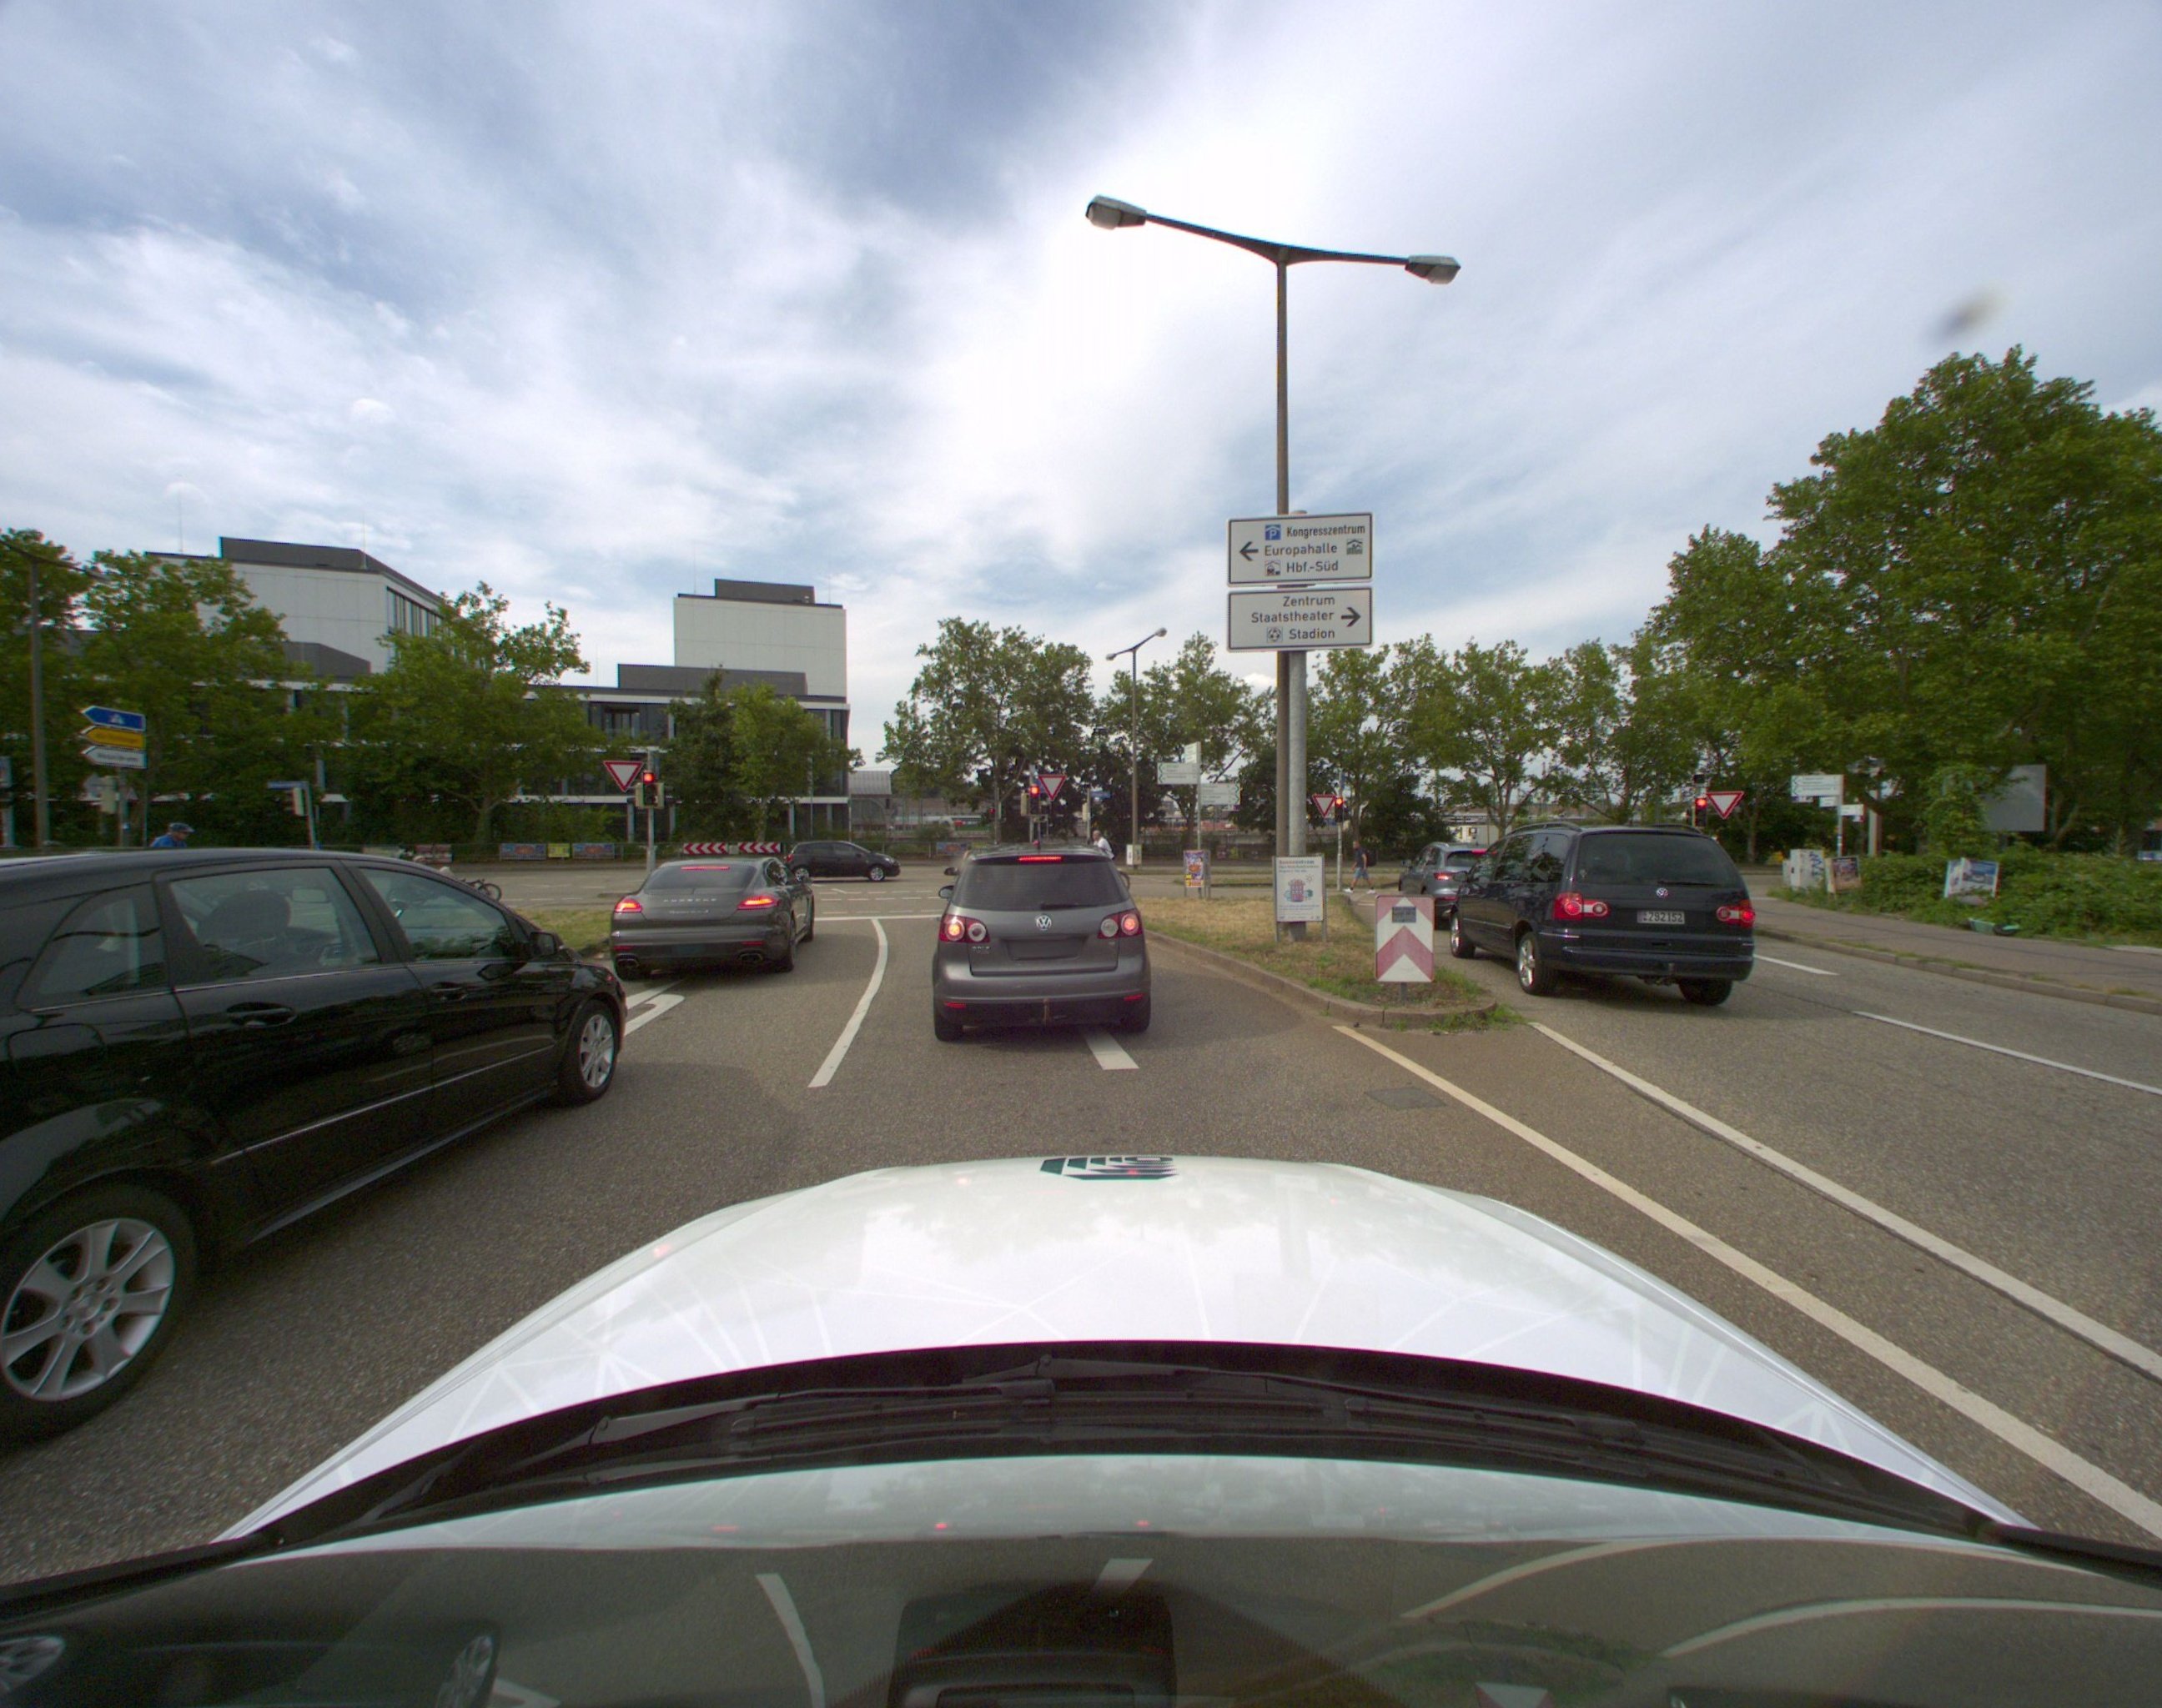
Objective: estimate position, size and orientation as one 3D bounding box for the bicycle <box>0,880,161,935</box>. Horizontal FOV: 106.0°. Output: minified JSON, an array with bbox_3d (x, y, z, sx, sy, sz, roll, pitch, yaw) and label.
[{"bbox_3d":[-18.596,0.964,14.727,2.588,0.890,0.701,-1,1,-16],"label":"bicycle"}]

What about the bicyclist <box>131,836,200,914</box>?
[{"bbox_3d":[-19.044,0.414,16.954,0.785,1.581,0.648,-1,1,-35],"label":"bicyclist"}]

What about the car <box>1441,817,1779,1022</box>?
[{"bbox_3d":[5.501,0.550,9.164,1.739,1.724,4.150,1,0,11],"label":"car"}]

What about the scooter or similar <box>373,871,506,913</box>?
[{"bbox_3d":[-15.267,0.875,19.485,2.394,0.849,0.800,-1,1,-31],"label":"scooter or similar"}]

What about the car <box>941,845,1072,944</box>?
[{"bbox_3d":[-1.489,0.609,14.677,1.743,1.482,4.062,-1,0,-14],"label":"car"}]

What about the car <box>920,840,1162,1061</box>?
[{"bbox_3d":[-0.492,0.671,7.930,1.739,1.546,4.073,-1,0,-6],"label":"car"}]

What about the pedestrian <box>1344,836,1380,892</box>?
[{"bbox_3d":[8.785,0.295,25.468,1.038,1.710,0.858,0,1,19],"label":"pedestrian"}]

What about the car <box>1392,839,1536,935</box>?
[{"bbox_3d":[7.288,0.553,15.920,1.679,1.585,4.171,1,0,13],"label":"car"}]

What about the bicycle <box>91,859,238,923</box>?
[{"bbox_3d":[-19.033,0.747,16.975,1.915,1.210,0.636,-2,1,-35],"label":"bicycle"}]

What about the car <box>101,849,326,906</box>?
[{"bbox_3d":[-24.723,0.626,23.401,4.067,1.450,1.693,-1,1,-18],"label":"car"}]

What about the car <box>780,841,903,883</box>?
[{"bbox_3d":[-8.492,0.248,28.877,4.073,1.368,1.690,-1,1,-22],"label":"car"}]

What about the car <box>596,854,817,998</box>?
[{"bbox_3d":[-4.706,0.742,10.981,1.821,1.414,4.754,0,1,-14],"label":"car"}]

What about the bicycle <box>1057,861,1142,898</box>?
[{"bbox_3d":[0.503,0.691,22.697,2.228,0.952,0.809,-1,1,-11],"label":"bicycle"}]

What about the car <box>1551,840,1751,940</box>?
[{"bbox_3d":[10.835,0.593,15.867,1.738,1.643,4.152,1,0,13],"label":"car"}]

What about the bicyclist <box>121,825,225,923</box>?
[{"bbox_3d":[-15.935,0.330,14.320,0.883,1.656,0.807,-1,1,-17],"label":"bicyclist"}]

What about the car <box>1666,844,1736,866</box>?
[{"bbox_3d":[42.119,0.048,55.310,3.957,1.448,1.694,-1,1,-14],"label":"car"}]

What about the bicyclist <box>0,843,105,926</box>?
[{"bbox_3d":[-18.676,0.526,14.709,1.115,1.436,0.645,-1,1,-15],"label":"bicyclist"}]

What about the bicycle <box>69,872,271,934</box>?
[{"bbox_3d":[-15.937,0.838,14.324,2.233,0.952,0.807,-1,1,-17],"label":"bicycle"}]

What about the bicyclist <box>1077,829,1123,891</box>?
[{"bbox_3d":[0.528,0.153,22.706,1.112,1.696,0.810,-1,1,-10],"label":"bicyclist"}]

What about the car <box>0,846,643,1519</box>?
[{"bbox_3d":[-3.679,0.791,3.489,1.755,1.575,4.028,0,2,-6],"label":"car"}]

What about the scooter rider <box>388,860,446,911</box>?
[{"bbox_3d":[-15.672,0.733,19.249,0.920,1.137,0.801,-1,1,-31],"label":"scooter rider"}]
